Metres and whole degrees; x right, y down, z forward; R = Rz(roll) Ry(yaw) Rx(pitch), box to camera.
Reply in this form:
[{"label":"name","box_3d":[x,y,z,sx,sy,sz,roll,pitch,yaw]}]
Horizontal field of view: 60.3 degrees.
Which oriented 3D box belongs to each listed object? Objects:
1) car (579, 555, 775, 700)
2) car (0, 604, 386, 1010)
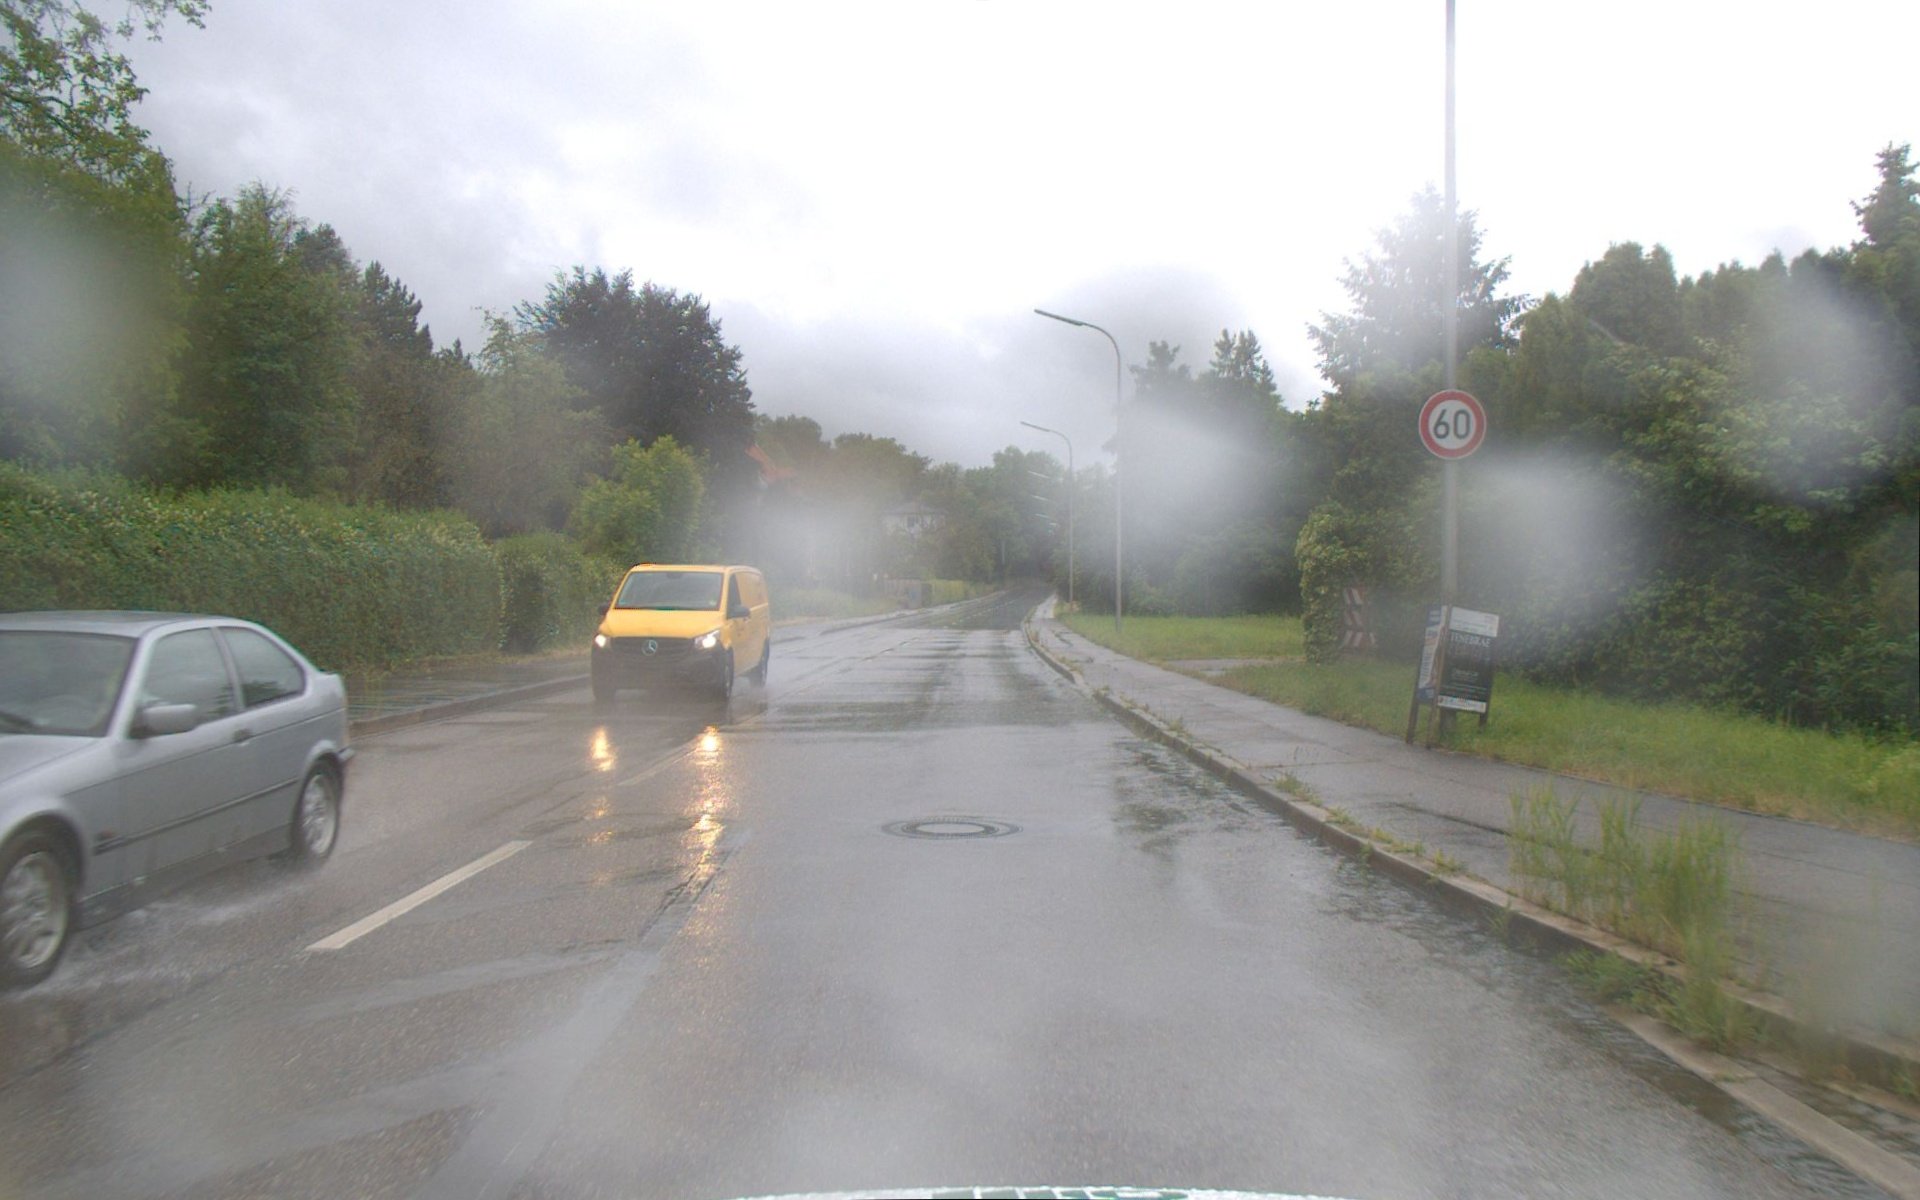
[{"label":"car","box_3d":[-4.040,0.346,24.514,1.897,1.904,5.037,-1,0,1]},{"label":"car","box_3d":[-4.192,0.738,7.696,1.667,1.373,3.905,-1,0,0]}]
